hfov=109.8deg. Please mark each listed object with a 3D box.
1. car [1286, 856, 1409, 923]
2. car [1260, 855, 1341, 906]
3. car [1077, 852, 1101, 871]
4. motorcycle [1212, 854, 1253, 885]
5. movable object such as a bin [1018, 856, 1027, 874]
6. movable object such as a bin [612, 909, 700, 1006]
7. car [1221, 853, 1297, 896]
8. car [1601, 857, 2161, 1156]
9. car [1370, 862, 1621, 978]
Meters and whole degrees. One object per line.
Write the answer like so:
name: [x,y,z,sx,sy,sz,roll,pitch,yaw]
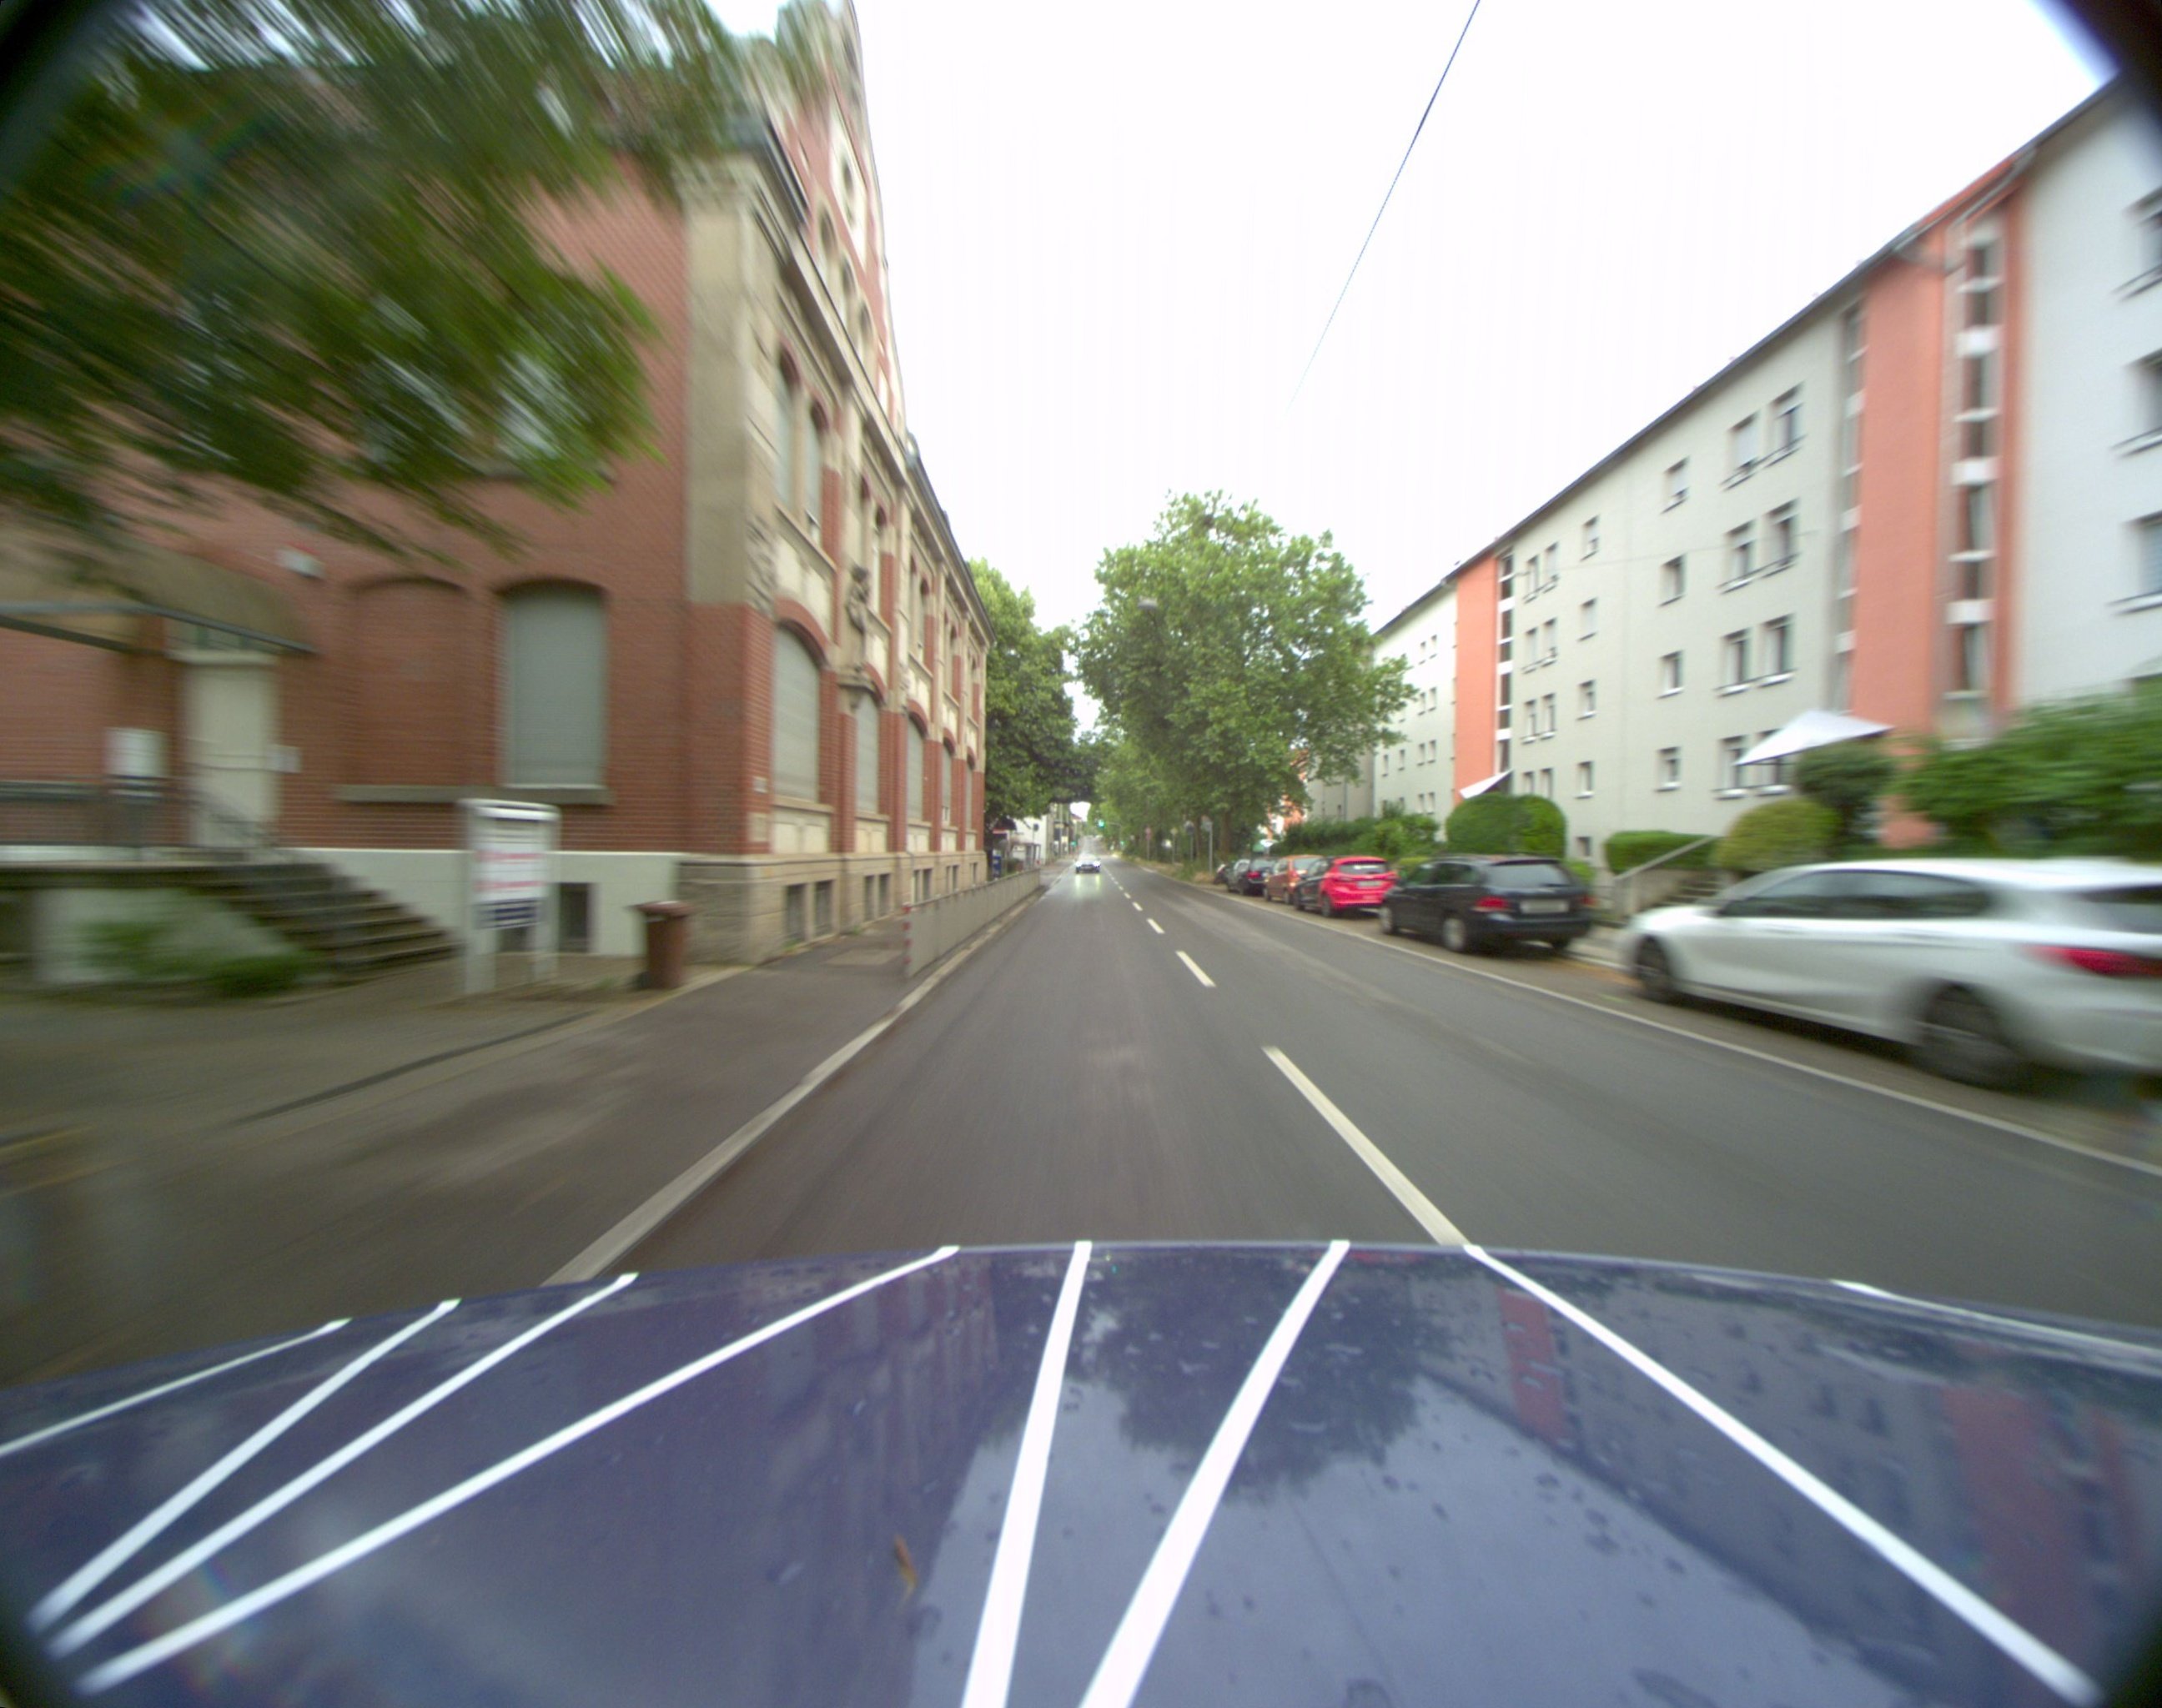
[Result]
car: [6.523,0.812,19.026,1.721,1.459,3.755,-1,0,-1]
car: [6.841,0.786,23.981,1.559,1.459,3.396,-1,0,-1]
car: [0.589,0.542,57.816,1.692,1.334,3.999,0,1,-2]
motorcycle: [6.880,0.694,34.566,1.717,1.332,0.722,1,1,1]
movable object such as a bin: [-3.661,0.663,47.705,0.506,1.109,0.618,0,1,1]
movable object such as a bin: [-4.482,1.079,8.038,0.592,0.927,0.572,2,1,0]
car: [6.787,0.714,29.496,1.721,1.500,4.803,-1,0,-1]
car: [6.411,0.833,5.942,1.721,1.459,4.309,4,1,2]
car: [6.345,0.903,12.267,1.721,1.459,4.233,-1,0,-1]
